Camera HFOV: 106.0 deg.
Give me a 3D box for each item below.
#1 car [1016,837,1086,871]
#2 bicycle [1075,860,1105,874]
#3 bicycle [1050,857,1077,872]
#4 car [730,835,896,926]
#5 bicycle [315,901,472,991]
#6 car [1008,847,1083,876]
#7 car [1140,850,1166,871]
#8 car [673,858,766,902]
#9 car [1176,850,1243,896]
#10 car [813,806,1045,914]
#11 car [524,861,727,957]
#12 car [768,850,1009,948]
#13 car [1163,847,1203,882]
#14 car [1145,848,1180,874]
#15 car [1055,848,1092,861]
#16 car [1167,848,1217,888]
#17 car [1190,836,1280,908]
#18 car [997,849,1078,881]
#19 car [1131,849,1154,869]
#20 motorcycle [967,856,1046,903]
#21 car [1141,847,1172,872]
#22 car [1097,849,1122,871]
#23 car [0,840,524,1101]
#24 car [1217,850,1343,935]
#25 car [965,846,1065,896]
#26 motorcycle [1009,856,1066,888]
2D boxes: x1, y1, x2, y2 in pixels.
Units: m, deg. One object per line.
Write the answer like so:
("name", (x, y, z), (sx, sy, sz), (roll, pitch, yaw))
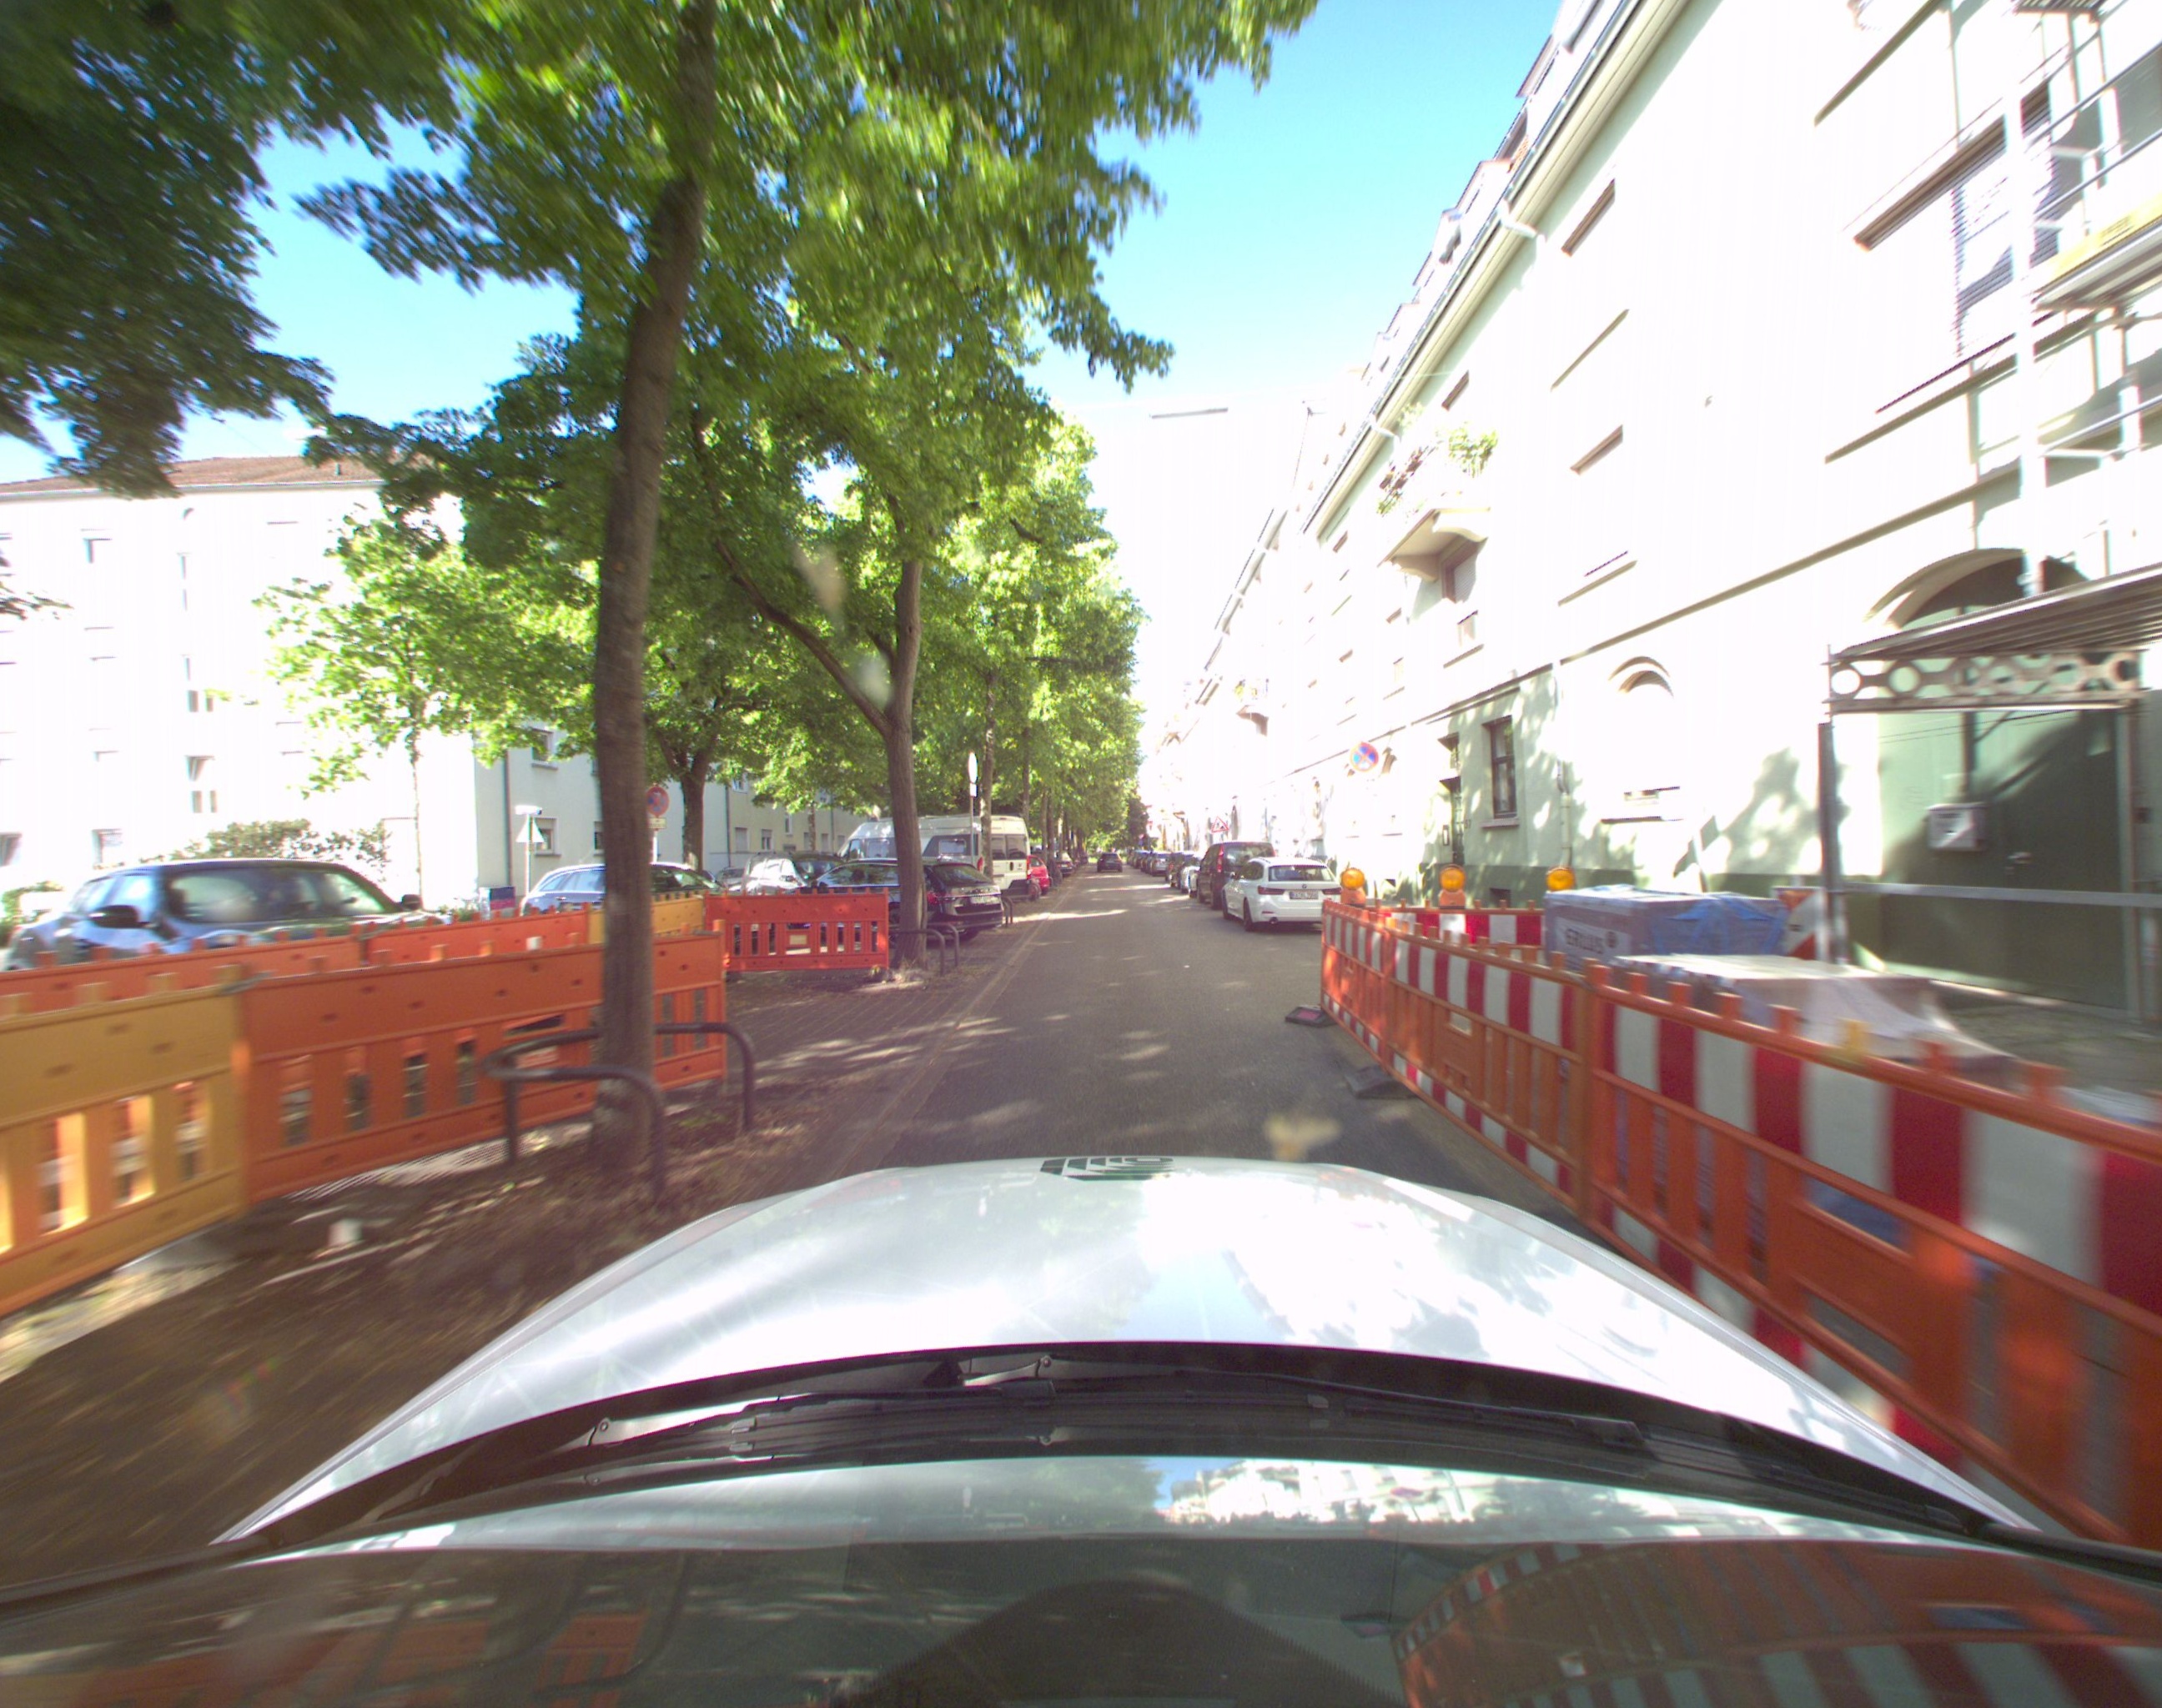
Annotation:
("car", (-2.879, 0.001, 78.283), (6.018, 2.623, 2.466), (-6, -2, 16))
("bicycle", (0.549, 0.827, 51.841), (1.882, 0.919, 0.381), (0, 0, 21))
("bicycle", (-1.244, 0.763, 57.606), (1.797, 0.994, 0.427), (-2, 0, 16))
("car", (-6.523, 0.593, 19.567), (4.329, 1.914, 2.012), (-2, 0, 45))
("bicycle", (-8.317, 1.107, 9.870), (1.618, 0.980, 0.283), (-2, 0, 0))
("car", (-2.111, 0.417, 48.225), (4.037, 1.653, 1.874), (0, 0, 28))
("car", (5.159, 0.429, 58.660), (1.686, 1.468, 4.006), (0, 0, 2))
("car", (-13.990, 0.952, 31.786), (1.744, 1.436, 4.080), (-4, 0, -1))
("car", (4.362, 0.600, 28.174), (1.601, 1.420, 4.568), (-2, 0, 1))
("car", (-4.198, 0.186, 21.975), (6.246, 2.559, 2.353), (-1, 0, 33))
("car", (-7.577, 0.894, 13.571), (2.923, 1.453, 1.250), (-2, 0, 18))
("car", (-3.453, 0.806, 14.381), (4.047, 1.526, 1.712), (-4, -2, 31))
("car", (4.845, 0.483, 39.123), (1.574, 1.550, 4.044), (-1, 0, 3))
("car", (4.898, 0.402, 49.477), (1.763, 1.431, 4.292), (-2, 0, 2))
("car", (-0.865, 0.027, 92.662), (4.086, 1.466, 1.861), (0, -1, -8))
("car", (4.555, 0.545, 33.804), (1.593, 1.492, 3.968), (-2, 0, 1))
("car", (4.232, 0.461, 22.931), (1.765, 1.794, 3.990), (-2, 0, 0))
("car", (-2.268, 0.582, 41.760), (3.968, 1.474, 1.637), (-2, 0, 36))
("car", (5.237, 0.406, 69.306), (1.798, 1.563, 4.324), (-3, 0, 3))
("motorcycle", (-2.309, 0.769, 25.056), (2.317, 1.335, 0.966), (-2, 0, -8))
("car", (4.970, 0.366, 54.181), (1.760, 1.551, 4.185), (-2, 0, 2))
("car", (2.113, 0.424, 59.613), (1.707, 1.483, 4.148), (-3, 0, 3))
("car", (-6.800, 0.799, 6.707), (4.083, 1.626, 1.708), (-3, 0, 24))
("car", (4.039, 0.711, 17.205), (1.698, 1.511, 4.285), (-2, 0, 2))
("car", (-2.414, 0.607, 29.198), (1.672, 1.618, 3.836), (-3, 0, -38))
("motorcycle", (-1.733, 0.730, 32.743), (2.134, 1.230, 0.884), (-1, 0, 10))
